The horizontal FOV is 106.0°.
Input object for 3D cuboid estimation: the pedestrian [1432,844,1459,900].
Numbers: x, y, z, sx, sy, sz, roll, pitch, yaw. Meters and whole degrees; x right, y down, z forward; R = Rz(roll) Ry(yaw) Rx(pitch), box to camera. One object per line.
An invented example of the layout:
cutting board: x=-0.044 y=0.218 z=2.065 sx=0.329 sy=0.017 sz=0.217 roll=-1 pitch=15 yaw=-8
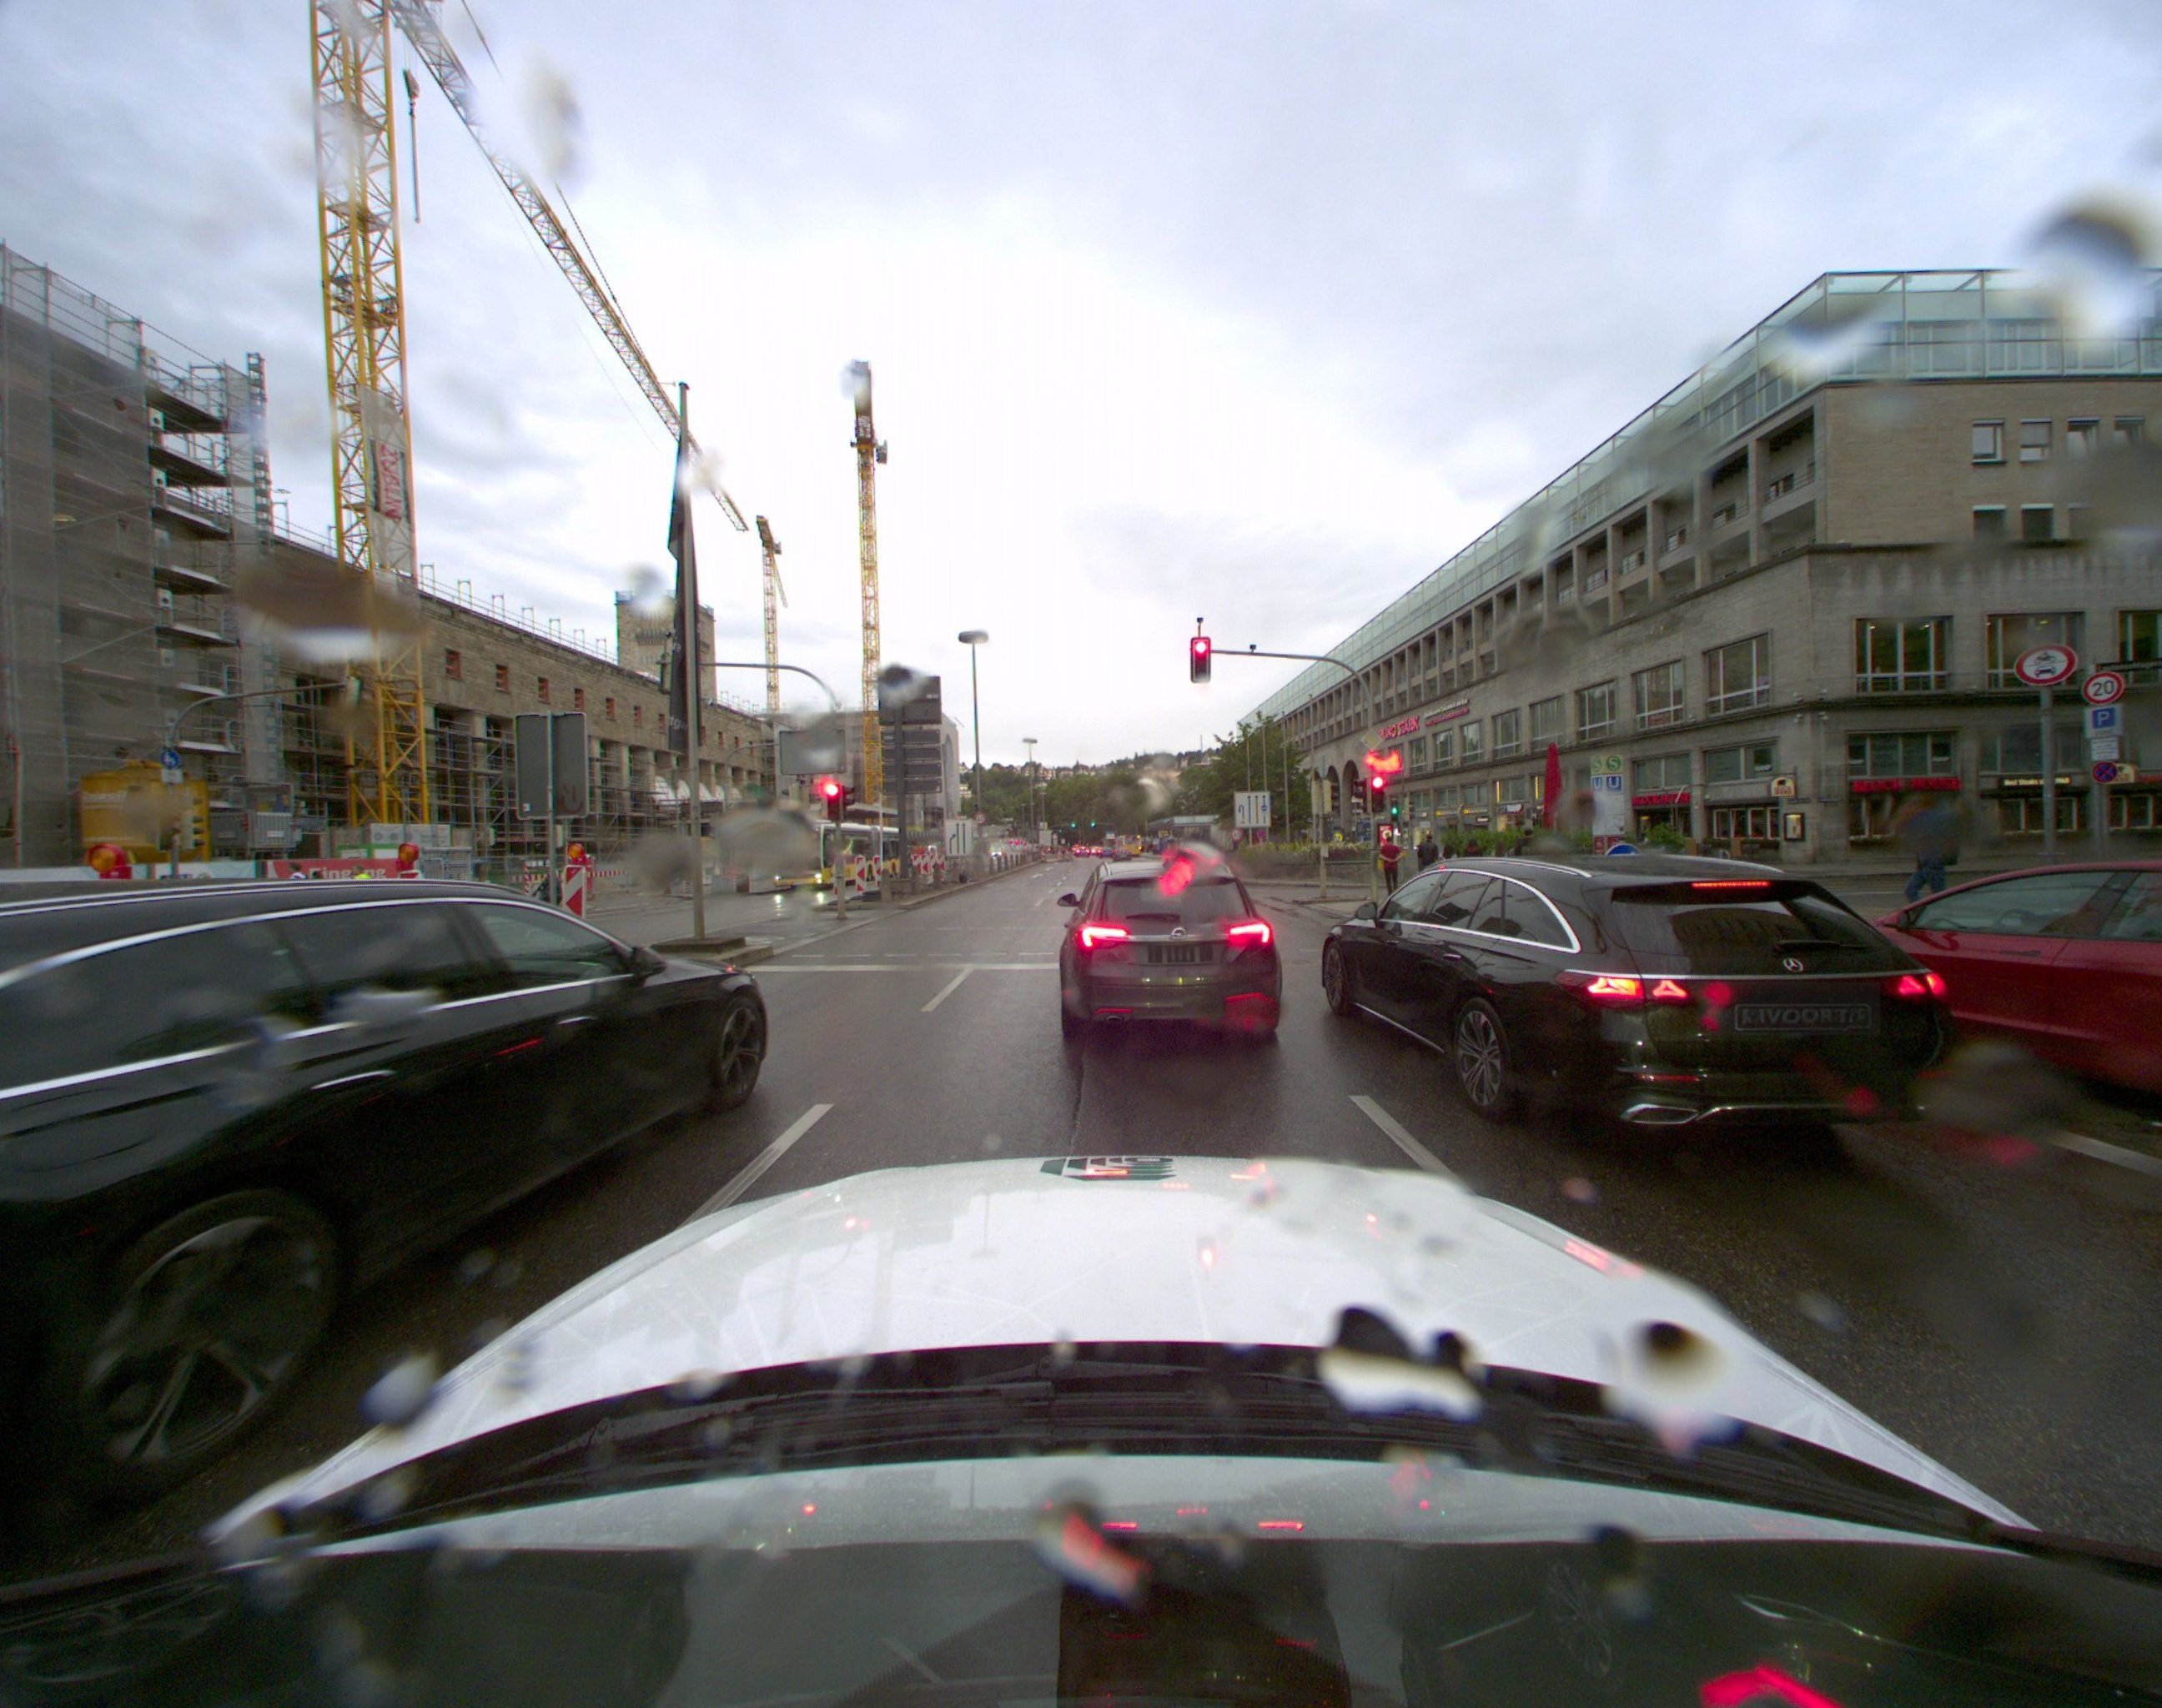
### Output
pedestrian: x=9.445 y=0.472 z=21.129 sx=0.625 sy=1.428 sz=0.492 roll=-1 pitch=-1 yaw=24

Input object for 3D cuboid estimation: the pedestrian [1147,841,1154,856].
pedestrian: x=11.325 y=-0.936 z=132.935 sx=1.194 sy=2.435 sz=1.229 roll=0 pitch=-1 yaw=3

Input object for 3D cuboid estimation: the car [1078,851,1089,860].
car: x=0.424 y=0.269 z=133.352 sx=1.839 sy=1.398 sz=3.565 roll=0 pitch=0 yaw=2

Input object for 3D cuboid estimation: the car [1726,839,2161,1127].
car: x=6.521 y=0.663 z=4.836 sx=1.868 sy=1.486 sz=4.527 roll=0 pitch=0 yaw=1

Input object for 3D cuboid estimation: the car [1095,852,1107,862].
car: x=3.020 y=0.467 z=123.402 sx=1.747 sy=1.398 sz=4.402 roll=0 pitch=0 yaw=1

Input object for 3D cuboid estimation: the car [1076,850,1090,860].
car: x=0.269 y=0.139 z=116.999 sx=1.839 sy=1.398 sz=3.565 roll=0 pitch=0 yaw=2

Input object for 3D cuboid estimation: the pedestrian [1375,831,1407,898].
pedestrian: x=8.257 y=0.284 z=21.666 sx=0.563 sy=1.752 sz=0.684 roll=-1 pitch=-1 yaw=44

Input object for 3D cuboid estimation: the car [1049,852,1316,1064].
car: x=0.760 y=0.742 z=7.738 sx=1.868 sy=1.486 sz=4.001 roll=0 pitch=0 yaw=1

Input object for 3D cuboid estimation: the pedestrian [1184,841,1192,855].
pedestrian: x=12.385 y=-0.689 z=94.160 sx=0.761 sy=1.690 sz=0.824 roll=0 pitch=-1 yaw=-3

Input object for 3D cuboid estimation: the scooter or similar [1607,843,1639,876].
scooter or similar: x=19.373 y=0.197 z=29.121 sx=0.290 sy=1.189 sz=1.014 roll=0 pitch=-1 yaw=-17

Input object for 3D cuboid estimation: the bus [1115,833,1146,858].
bus: x=7.220 y=-1.123 z=120.938 sx=4.158 sy=3.469 sz=14.660 roll=0 pitch=0 yaw=2

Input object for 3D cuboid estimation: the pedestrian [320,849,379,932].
pedestrian: x=-16.559 y=0.808 z=18.457 sx=0.576 sy=1.836 sz=0.820 roll=0 pitch=-1 yaw=2

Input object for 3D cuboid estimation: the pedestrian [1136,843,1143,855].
pedestrian: x=11.264 y=-0.967 z=157.200 sx=1.194 sy=2.149 sz=1.229 roll=0 pitch=-1 yaw=3

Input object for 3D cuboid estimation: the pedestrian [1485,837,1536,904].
pedestrian: x=10.689 y=0.394 z=20.298 sx=0.791 sy=1.626 sz=0.899 roll=0 pitch=-1 yaw=-2

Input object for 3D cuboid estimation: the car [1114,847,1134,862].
car: x=3.973 y=0.042 z=75.810 sx=1.838 sy=1.398 sz=3.668 roll=0 pitch=0 yaw=2

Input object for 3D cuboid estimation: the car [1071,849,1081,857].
car: x=-0.912 y=-0.157 z=150.228 sx=1.752 sy=1.398 sz=3.565 roll=0 pitch=0 yaw=2

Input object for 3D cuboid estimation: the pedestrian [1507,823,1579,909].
pedestrian: x=10.001 y=0.257 z=17.648 sx=1.093 sy=1.751 sz=0.653 roll=-3 pitch=-1 yaw=-1

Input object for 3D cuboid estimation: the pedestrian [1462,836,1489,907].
pedestrian: x=10.087 y=0.442 z=20.836 sx=0.477 sy=1.751 sz=0.670 roll=-4 pitch=-1 yaw=30

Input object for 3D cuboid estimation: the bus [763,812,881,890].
bus: x=-13.424 y=-0.119 z=43.312 sx=2.658 sy=3.602 sz=10.243 roll=0 pitch=0 yaw=2

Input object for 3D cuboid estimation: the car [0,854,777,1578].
car: x=-3.069 y=0.748 z=3.262 sx=1.848 sy=1.469 sz=4.589 roll=0 pitch=0 yaw=2

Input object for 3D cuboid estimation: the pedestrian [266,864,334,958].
pedestrian: x=-16.216 y=1.160 z=16.931 sx=0.798 sy=1.890 sz=0.618 roll=0 pitch=-1 yaw=-7

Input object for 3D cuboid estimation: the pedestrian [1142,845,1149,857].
pedestrian: x=11.585 y=-0.450 z=146.314 sx=1.194 sy=2.149 sz=1.229 roll=0 pitch=-1 yaw=3

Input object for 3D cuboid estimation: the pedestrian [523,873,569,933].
pedestrian: x=-14.585 y=1.311 z=22.209 sx=0.864 sy=1.561 sz=0.792 roll=-1 pitch=-1 yaw=35

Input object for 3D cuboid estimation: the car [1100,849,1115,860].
car: x=3.461 y=0.102 z=107.040 sx=1.748 sy=1.398 sz=4.647 roll=0 pitch=0 yaw=-1

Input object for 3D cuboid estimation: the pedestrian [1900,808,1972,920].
pedestrian: x=13.899 y=0.156 z=13.255 sx=0.770 sy=1.756 sz=0.507 roll=-1 pitch=-1 yaw=45

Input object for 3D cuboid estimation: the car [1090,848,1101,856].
car: x=2.555 y=-0.380 z=141.998 sx=1.839 sy=1.398 sz=3.565 roll=0 pitch=0 yaw=2

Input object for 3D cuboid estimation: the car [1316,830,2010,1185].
car: x=3.134 y=0.665 z=5.786 sx=1.786 sy=1.501 sz=4.631 roll=0 pitch=0 yaw=3

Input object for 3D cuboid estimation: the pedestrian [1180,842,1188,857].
pedestrian: x=12.038 y=-0.505 z=95.267 sx=0.761 sy=1.690 sz=0.824 roll=0 pitch=-1 yaw=-3

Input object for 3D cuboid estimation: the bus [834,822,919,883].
bus: x=-13.177 y=-0.070 z=53.568 sx=2.658 sy=3.602 sz=10.215 roll=0 pitch=0 yaw=2

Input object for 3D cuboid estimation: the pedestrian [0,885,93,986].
pedestrian: x=-18.594 y=1.438 z=14.650 sx=0.797 sy=1.717 sz=0.619 roll=-3 pitch=0 yaw=-2

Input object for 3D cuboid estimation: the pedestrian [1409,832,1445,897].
pedestrian: x=9.305 y=0.280 z=21.936 sx=0.753 sy=1.717 sz=0.466 roll=0 pitch=-1 yaw=-2
